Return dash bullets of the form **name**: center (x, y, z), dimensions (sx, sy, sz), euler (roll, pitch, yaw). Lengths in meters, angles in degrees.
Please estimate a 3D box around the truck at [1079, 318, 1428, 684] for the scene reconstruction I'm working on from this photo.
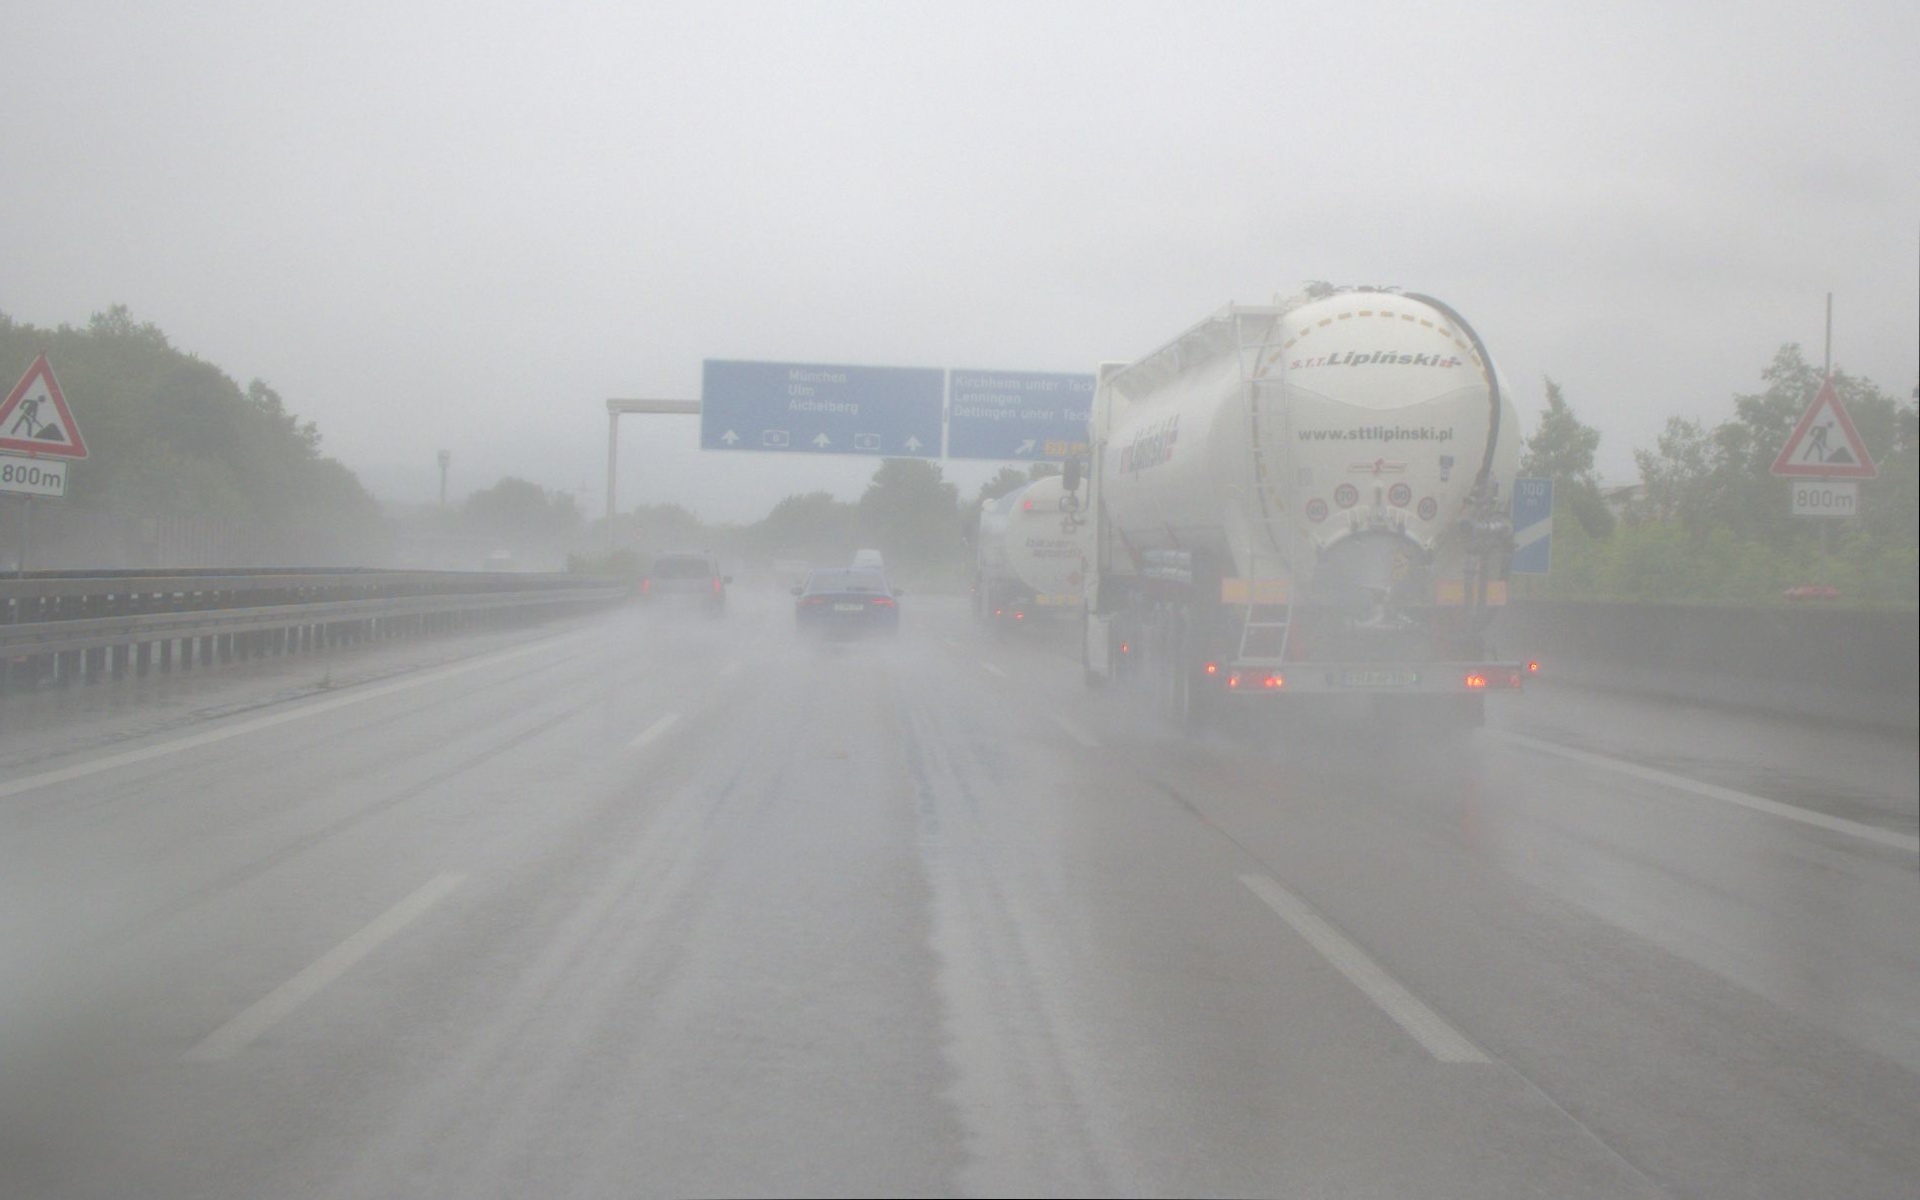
- **truck**: center (3.219, -1.096, 39.845), dimensions (3.104, 3.793, 7.213), euler (1, 1, -2)

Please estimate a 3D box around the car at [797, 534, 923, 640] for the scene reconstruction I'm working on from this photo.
- **car**: center (-1.701, -0.256, 59.712), dimensions (1.978, 1.750, 4.481), euler (1, 1, 1)

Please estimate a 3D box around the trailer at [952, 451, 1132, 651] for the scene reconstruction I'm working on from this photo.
- **trailer**: center (1.582, -1.014, 70.763), dimensions (3.004, 3.834, 8.625), euler (1, 1, -3)

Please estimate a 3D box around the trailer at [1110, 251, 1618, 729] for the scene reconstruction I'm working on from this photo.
- **trailer**: center (3.407, -0.950, 32.662), dimensions (3.188, 3.657, 11.667), euler (1, 1, -1)

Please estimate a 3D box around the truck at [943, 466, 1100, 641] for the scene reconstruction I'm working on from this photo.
- **truck**: center (1.288, -1.031, 75.920), dimensions (2.943, 3.671, 6.362), euler (1, 1, -3)
